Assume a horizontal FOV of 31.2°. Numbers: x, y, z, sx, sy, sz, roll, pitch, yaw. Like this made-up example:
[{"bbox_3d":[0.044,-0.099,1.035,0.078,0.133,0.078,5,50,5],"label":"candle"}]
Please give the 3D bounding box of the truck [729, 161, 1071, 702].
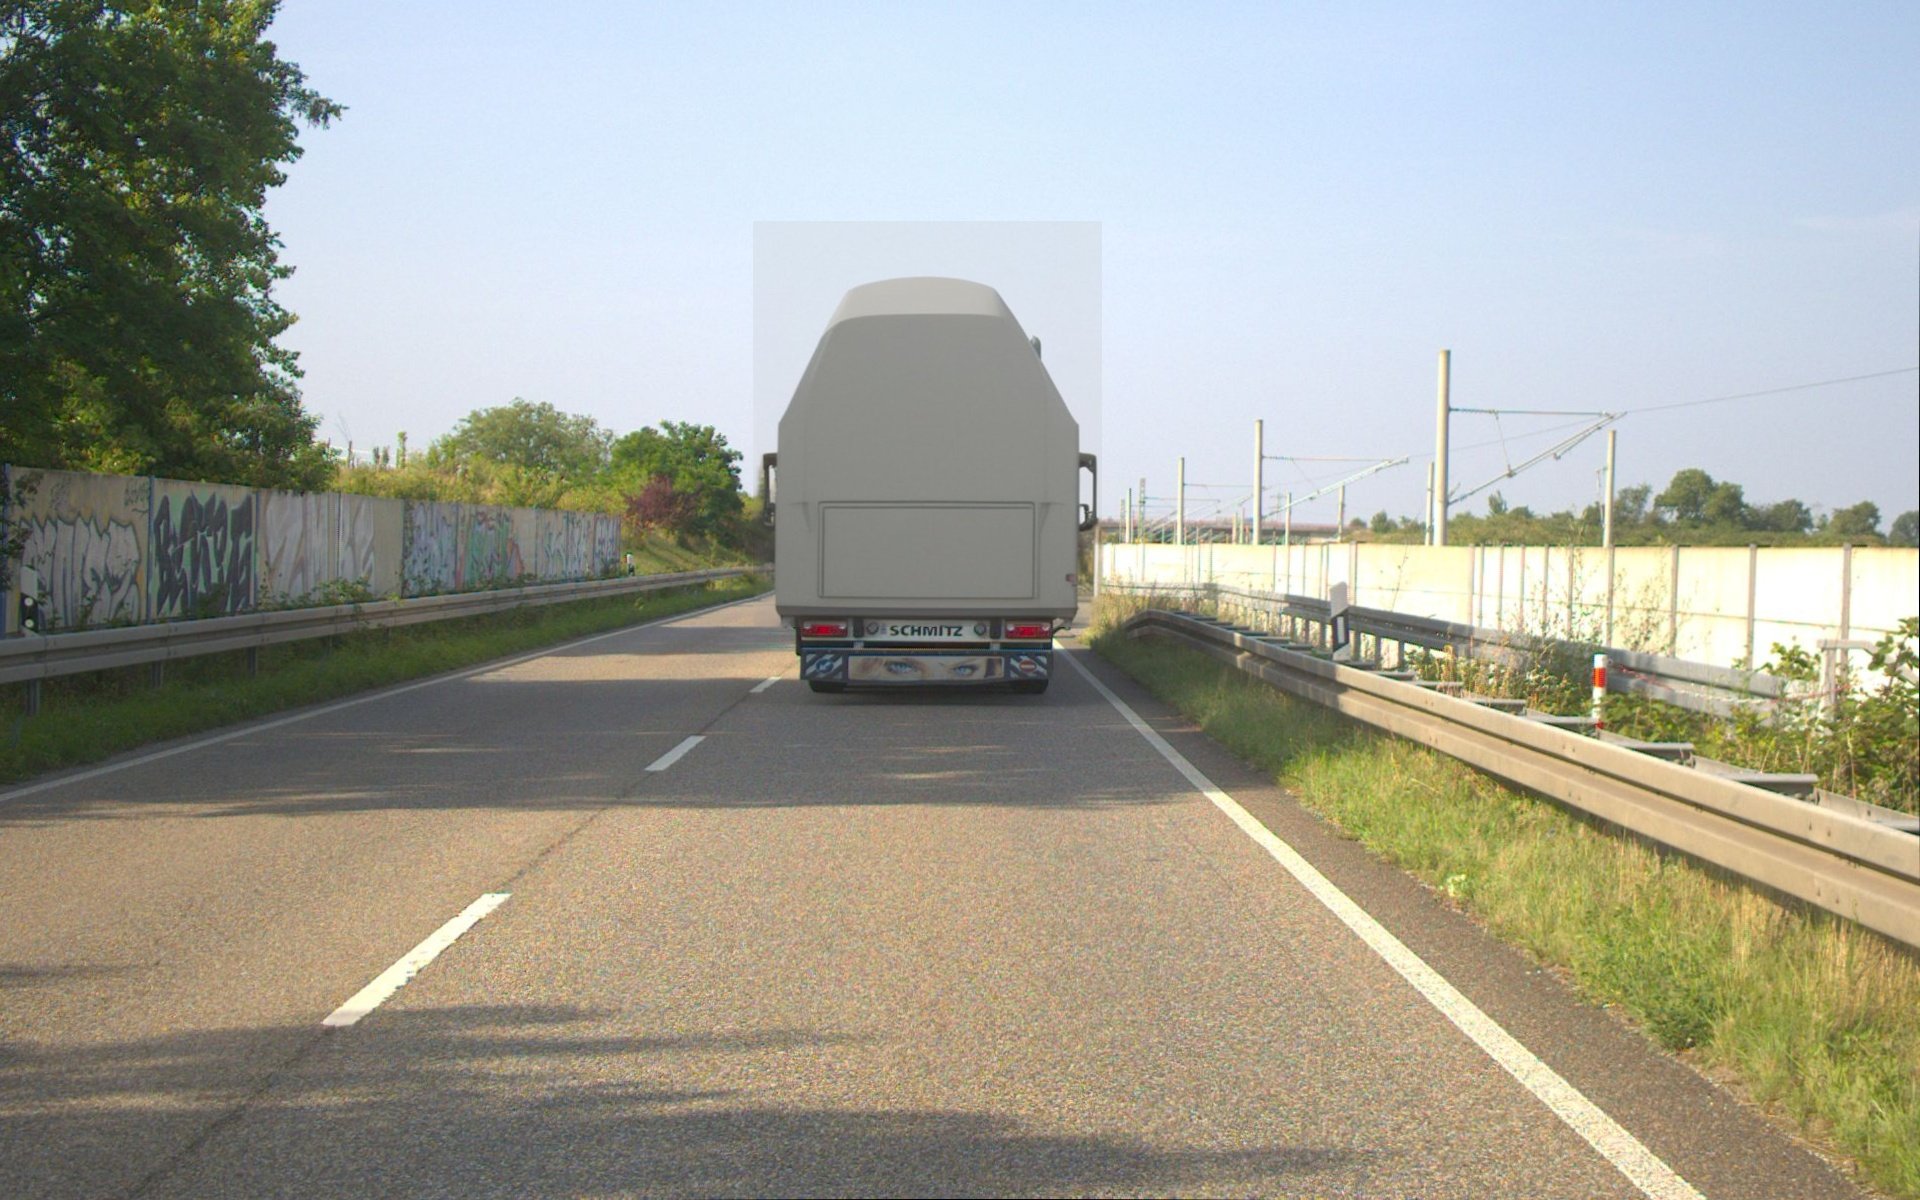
[{"bbox_3d":[-0.647,-1.628,37.420,3.033,4.903,11.685,1,1,-1],"label":"truck"}]
